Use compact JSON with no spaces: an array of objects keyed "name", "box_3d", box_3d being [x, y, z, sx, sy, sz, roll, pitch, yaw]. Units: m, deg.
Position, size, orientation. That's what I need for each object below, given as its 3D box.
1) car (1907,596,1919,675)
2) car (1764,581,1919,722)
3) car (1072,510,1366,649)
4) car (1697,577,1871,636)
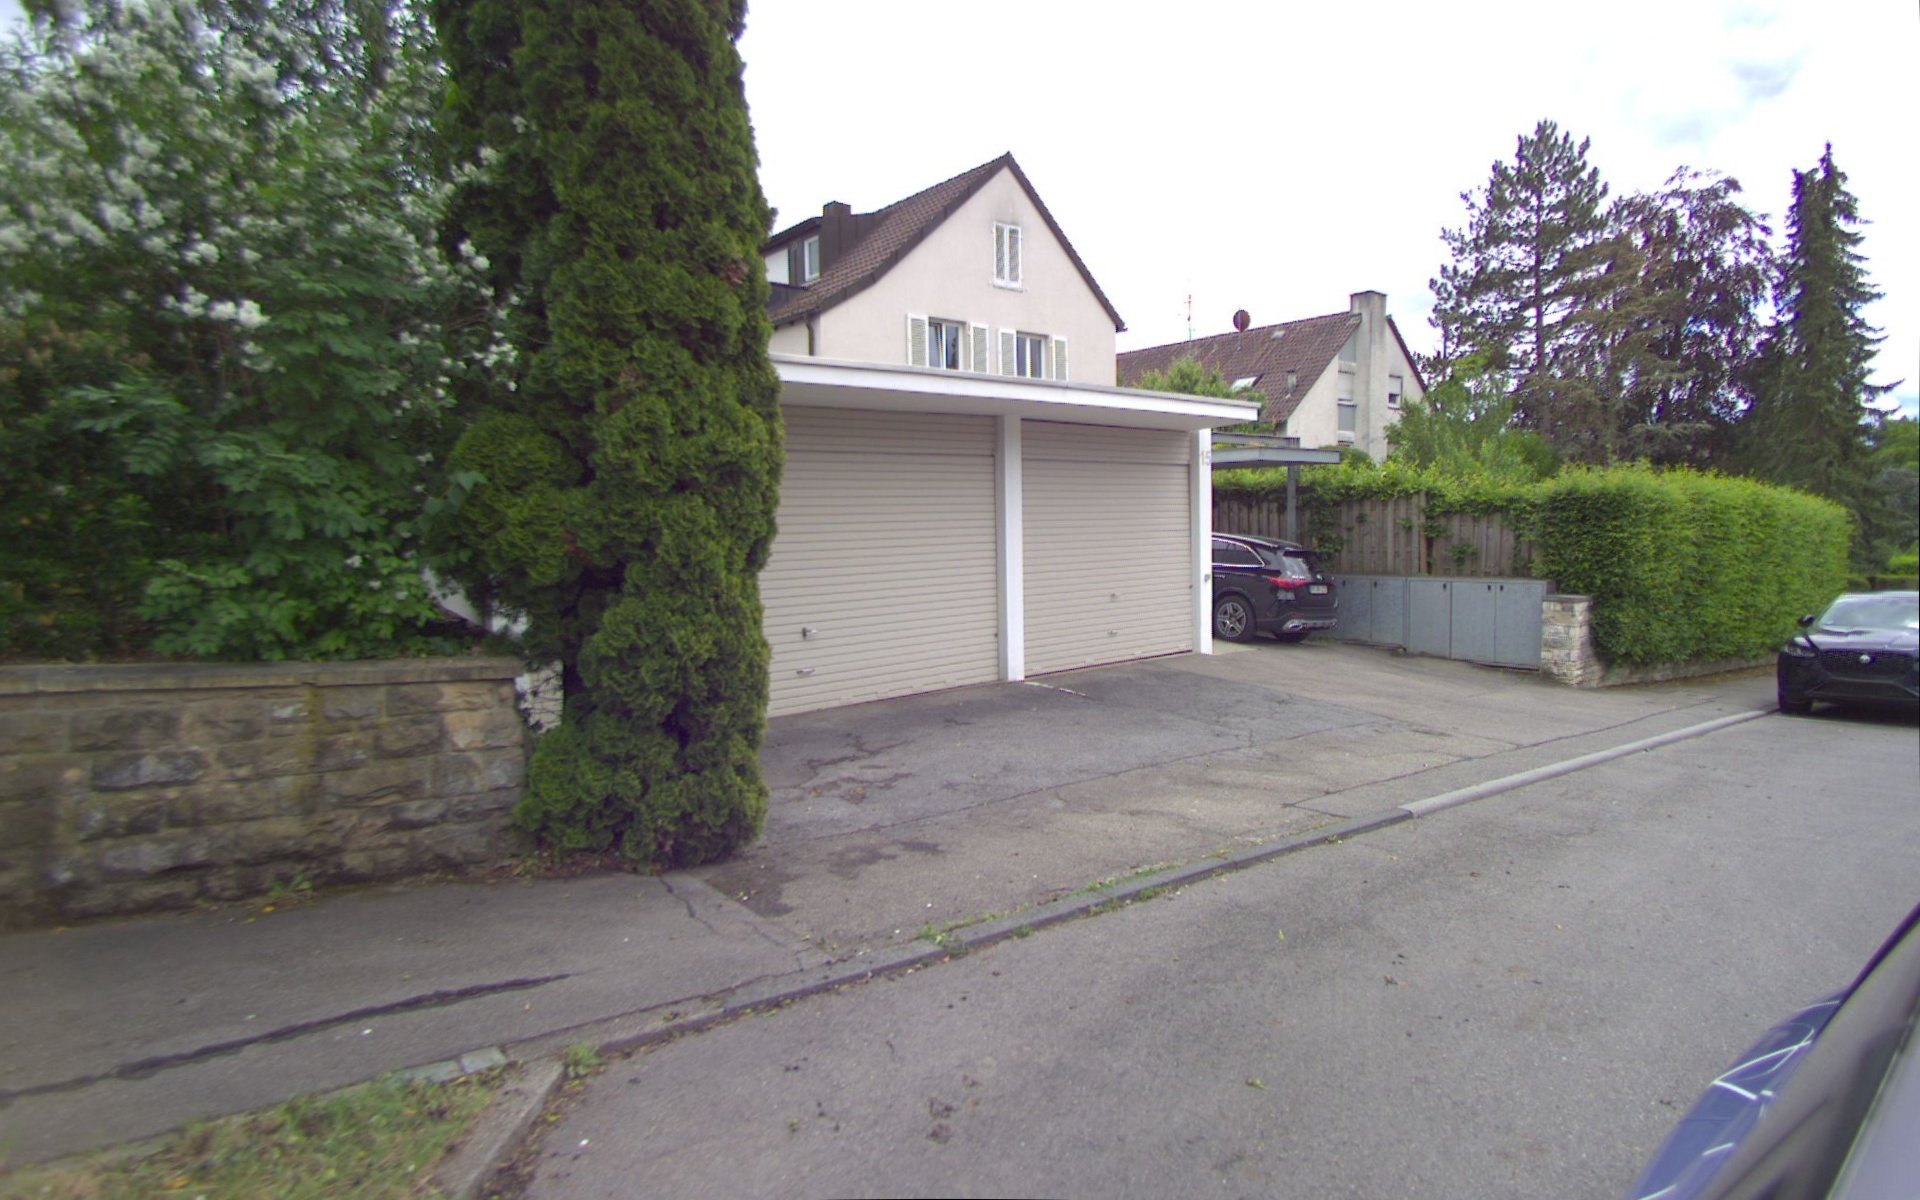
[{"name":"car","box_3d":[20.357,0.734,20.198,3.691,1.526,1.665,1,2,-40]},{"name":"car","box_3d":[12.666,0.594,13.479,4.429,1.638,1.999,0,0,-37]},{"name":"car","box_3d":[4.173,-0.436,16.948,1.852,1.667,4.378,1,8,-41]},{"name":"car","box_3d":[26.668,0.175,32.857,4.206,1.619,1.854,4,3,42]}]
